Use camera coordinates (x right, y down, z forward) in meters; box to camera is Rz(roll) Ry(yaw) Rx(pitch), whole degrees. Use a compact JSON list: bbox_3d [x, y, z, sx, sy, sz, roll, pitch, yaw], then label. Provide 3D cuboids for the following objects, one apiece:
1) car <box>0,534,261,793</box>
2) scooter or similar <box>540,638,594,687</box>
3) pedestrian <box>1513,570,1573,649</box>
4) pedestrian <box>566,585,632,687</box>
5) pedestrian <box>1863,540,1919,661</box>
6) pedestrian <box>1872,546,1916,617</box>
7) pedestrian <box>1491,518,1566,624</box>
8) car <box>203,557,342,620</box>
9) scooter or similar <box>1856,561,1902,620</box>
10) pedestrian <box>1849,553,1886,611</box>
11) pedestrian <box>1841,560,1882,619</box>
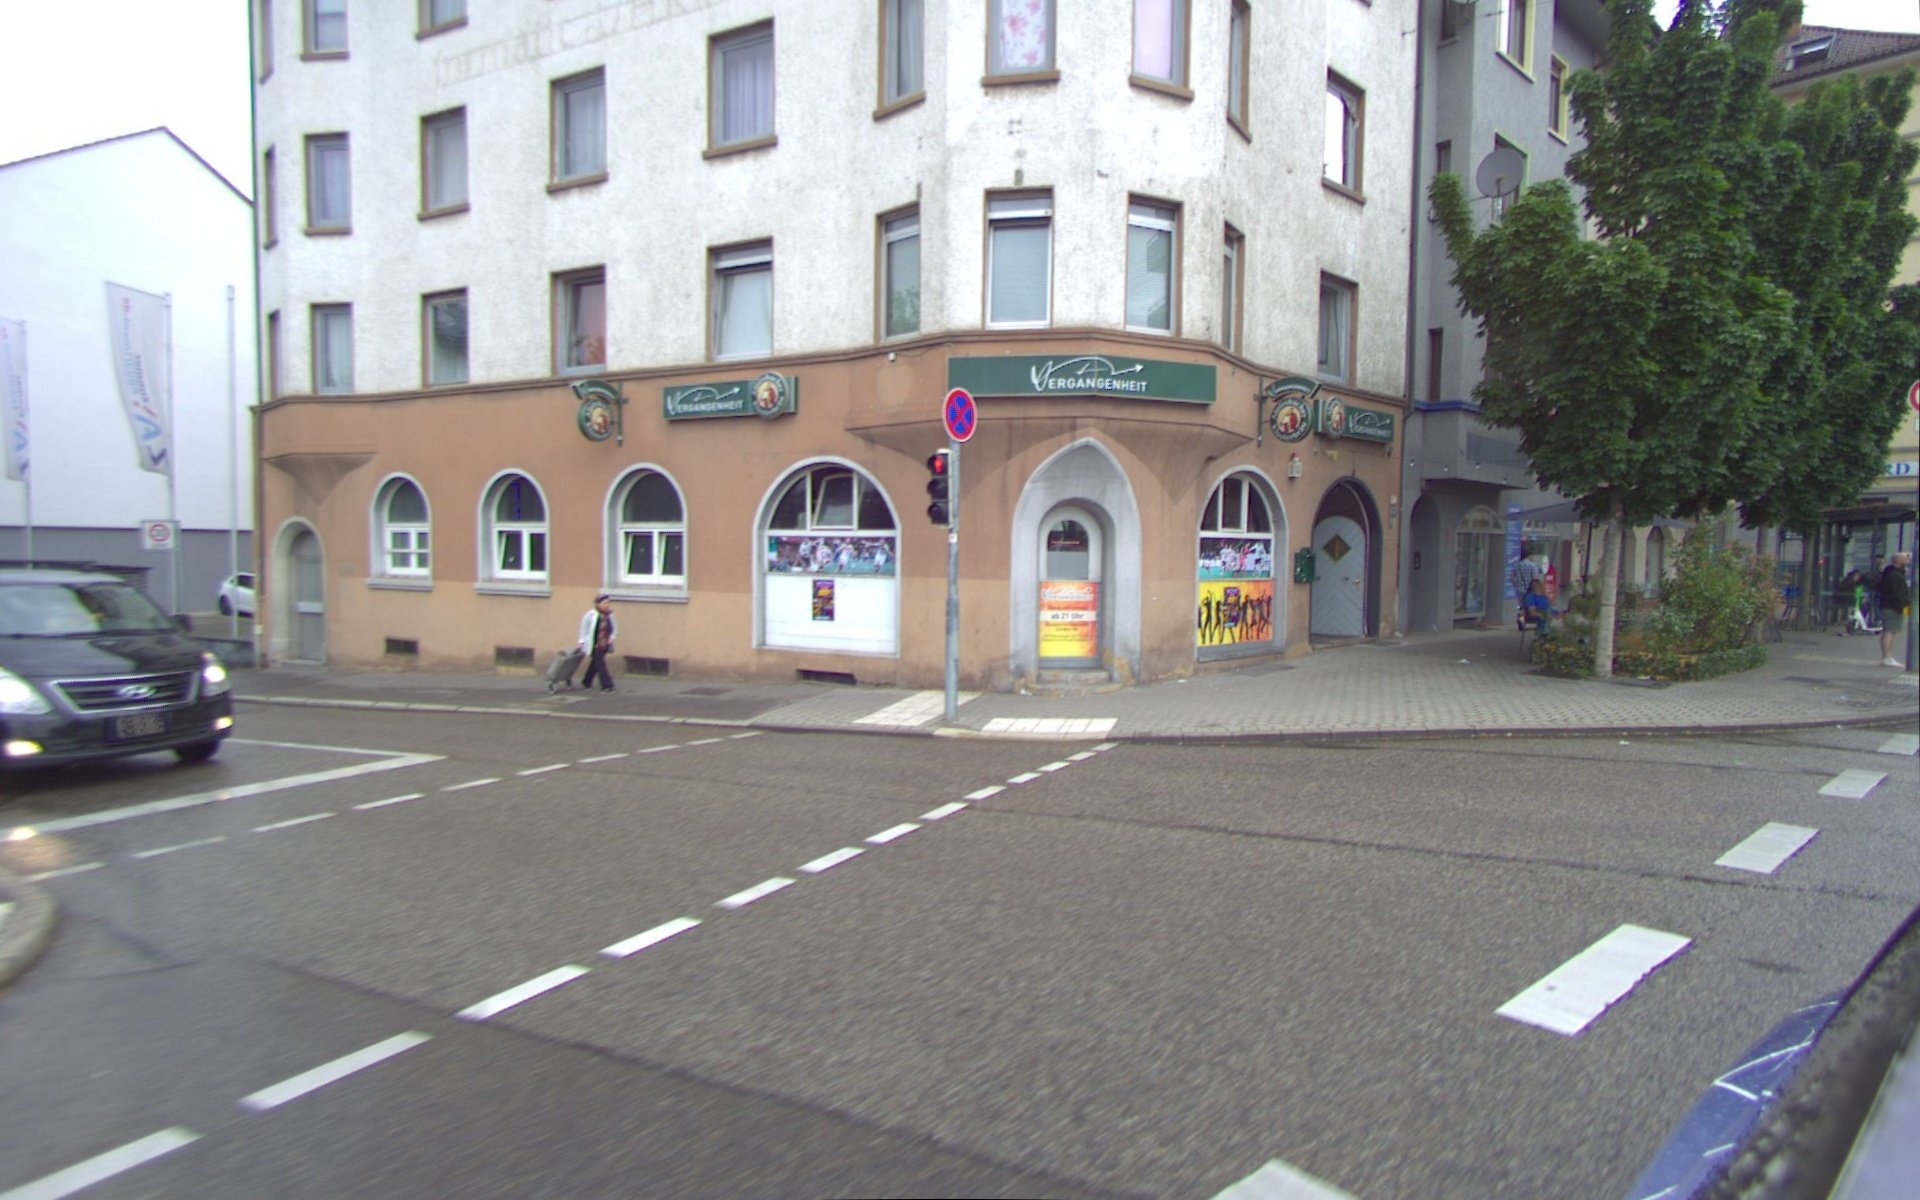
[{"bbox_3d":[-9.266,0.492,9.890,4.711,2.038,1.982,-1,2,27],"label":"car"},{"bbox_3d":[-6.032,0.951,15.532,0.502,0.676,0.545,-2,2,29],"label":"scooter or similar"},{"bbox_3d":[9.396,0.131,16.315,0.547,1.203,0.666,-3,5,-42],"label":"pedestrian"},{"bbox_3d":[-5.480,0.526,15.389,0.694,1.472,0.623,2,4,28],"label":"pedestrian"},{"bbox_3d":[14.934,-0.012,16.078,0.620,1.863,0.734,-3,5,-42],"label":"pedestrian"},{"bbox_3d":[23.256,-0.466,25.206,0.644,1.719,0.621,-3,4,-36],"label":"pedestrian"},{"bbox_3d":[11.304,-0.607,20.118,1.180,2.037,0.899,-3,5,-41],"label":"pedestrian"},{"bbox_3d":[-22.353,-0.422,32.915,3.958,1.569,1.985,6,6,23],"label":"car"},{"bbox_3d":[19.971,-0.219,21.979,1.522,1.186,0.512,-3,5,-40],"label":"scooter or similar"},{"bbox_3d":[21.857,-0.446,24.374,0.586,1.366,0.535,-3,5,-41],"label":"pedestrian"},{"bbox_3d":[21.270,-0.258,23.868,0.614,1.351,0.607,-3,5,-41],"label":"pedestrian"}]
